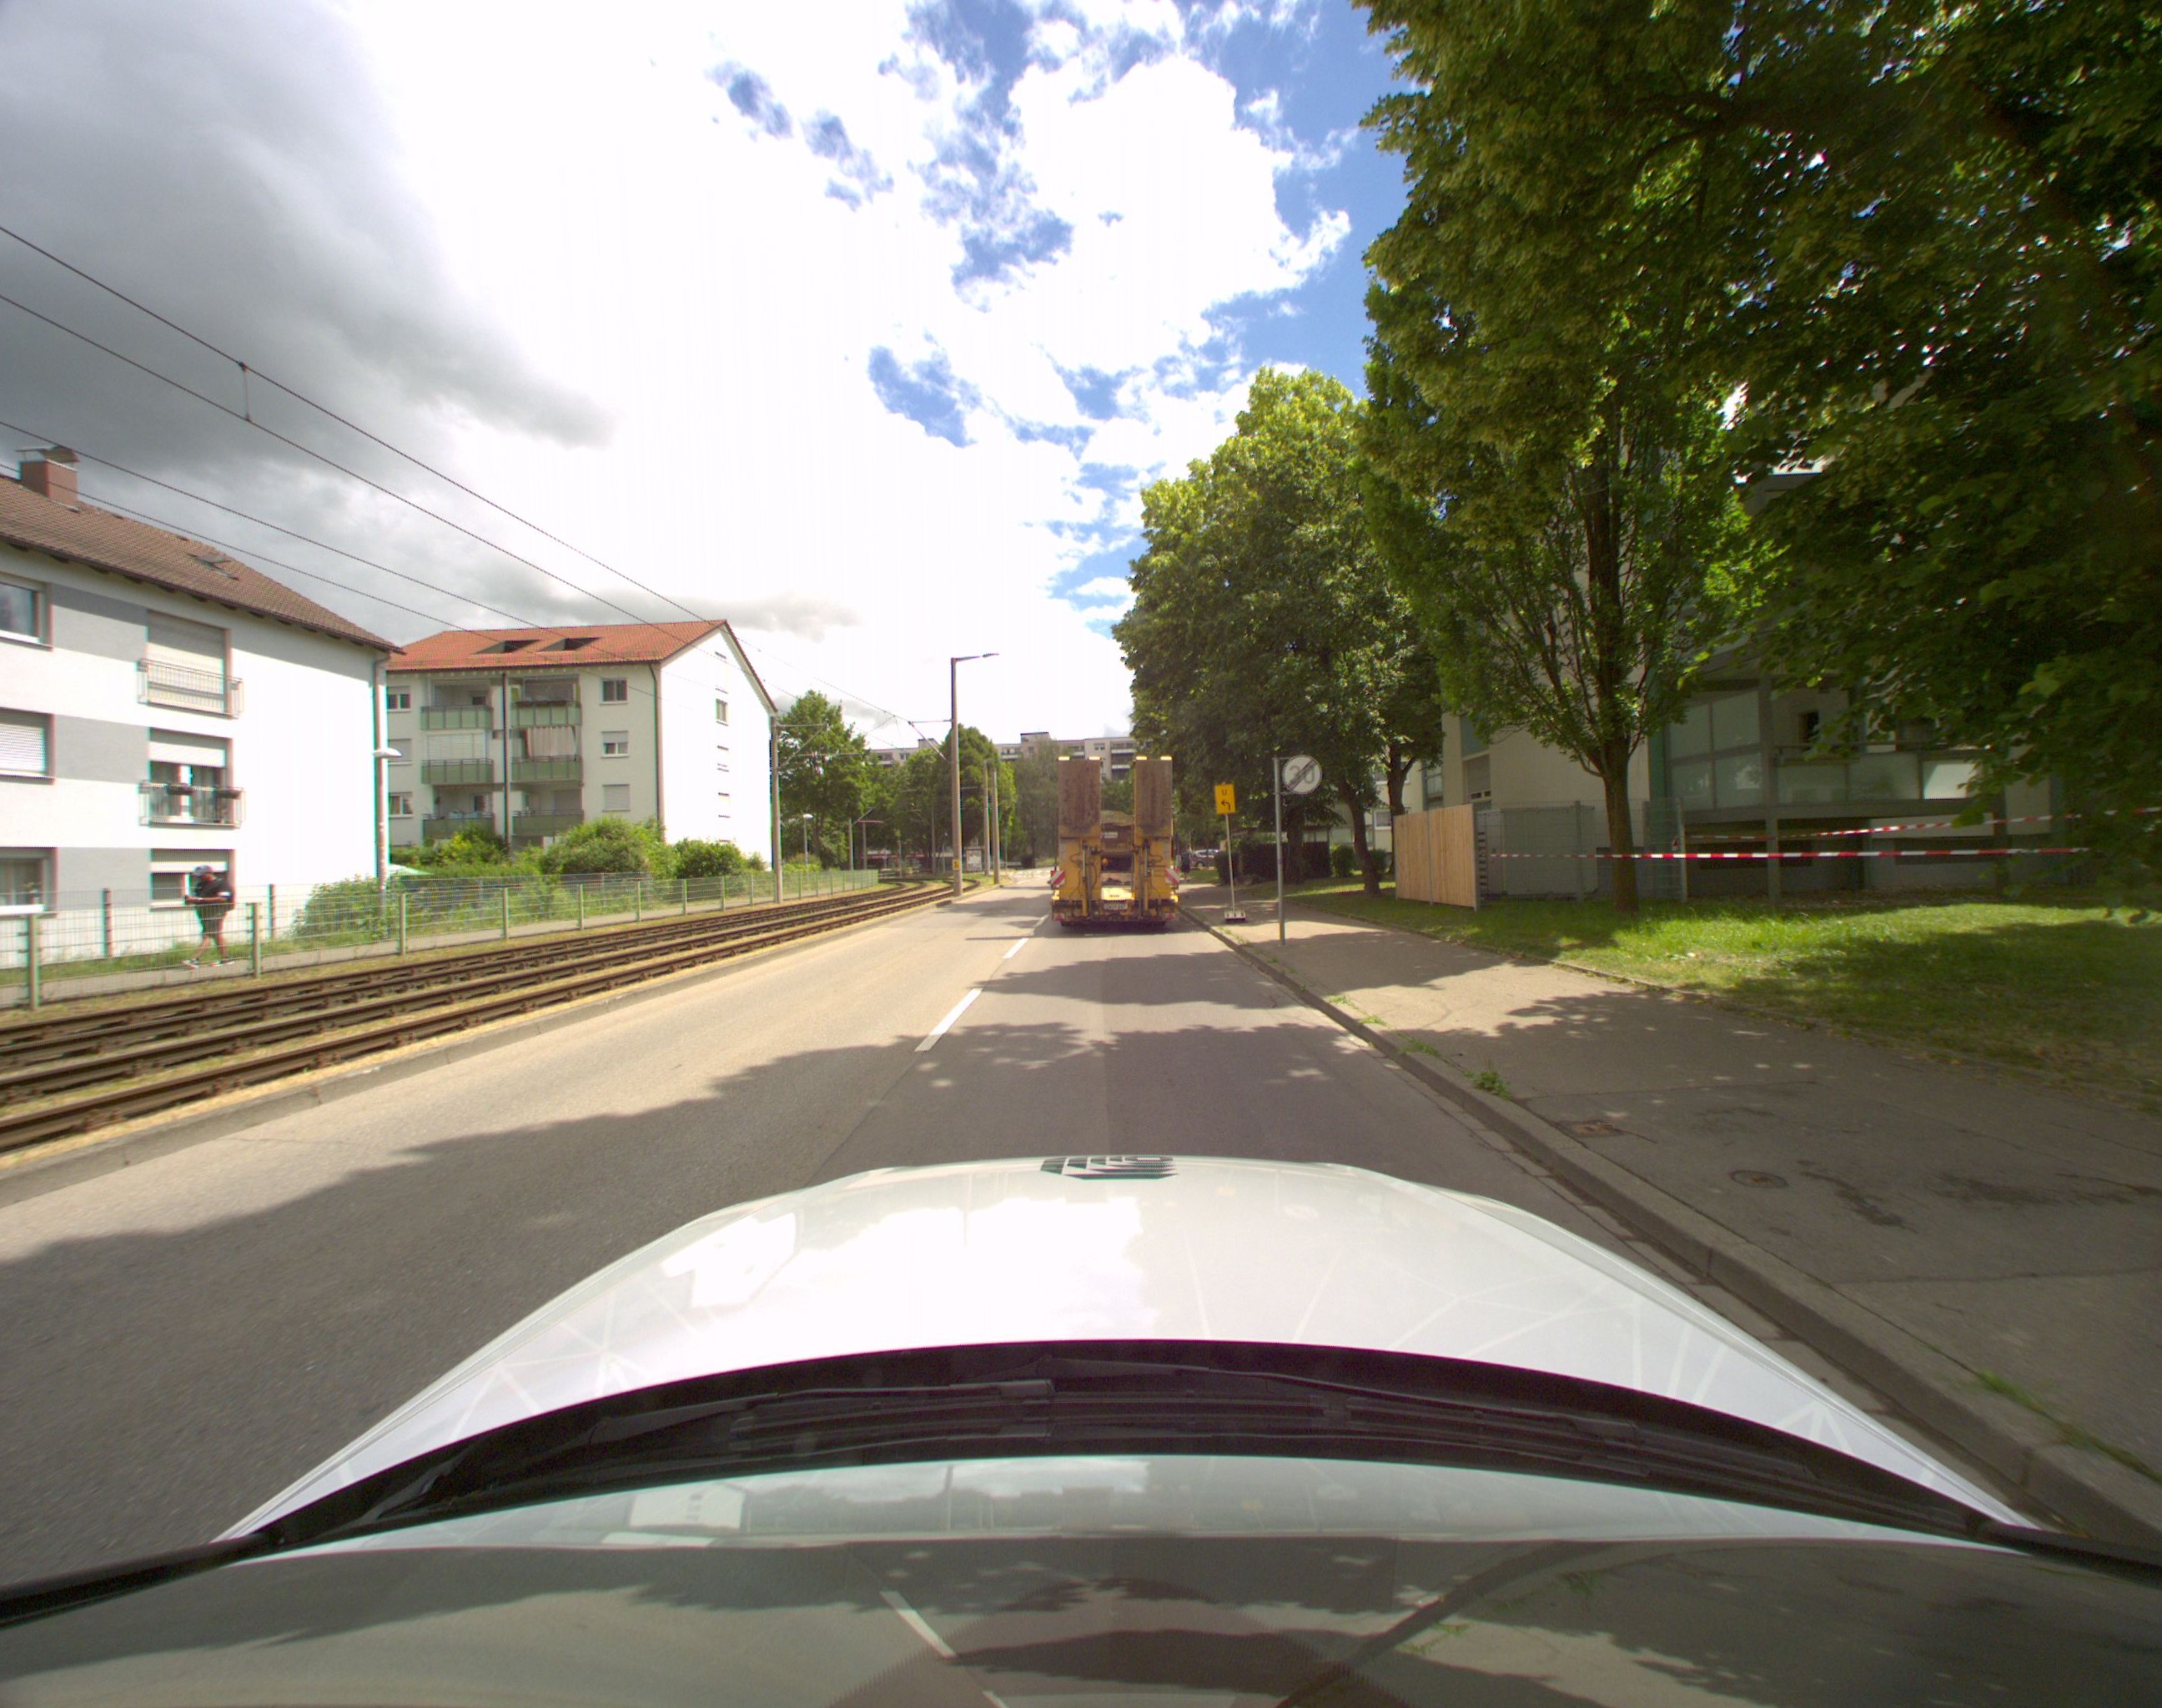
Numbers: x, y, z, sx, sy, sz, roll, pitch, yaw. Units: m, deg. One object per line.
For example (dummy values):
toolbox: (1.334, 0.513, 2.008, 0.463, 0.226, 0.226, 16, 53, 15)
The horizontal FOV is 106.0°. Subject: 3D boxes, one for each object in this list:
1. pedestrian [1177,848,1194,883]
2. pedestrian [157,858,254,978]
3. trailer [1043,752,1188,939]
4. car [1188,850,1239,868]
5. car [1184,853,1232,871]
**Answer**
pedestrian: (5.269, 0.581, 41.114, 0.715, 1.706, 0.766, -3, 0, 1)
pedestrian: (-14.170, 1.011, 13.205, 0.657, 1.849, 0.768, -3, -1, 1)
trailer: (0.620, -0.129, 22.144, 2.819, 3.646, 12.349, 0, 0, -1)
car: (11.508, 0.438, 70.801, 3.988, 1.561, 1.753, 0, -1, -11)
car: (11.584, 0.737, 74.181, 3.988, 1.561, 1.753, 0, -1, -11)
